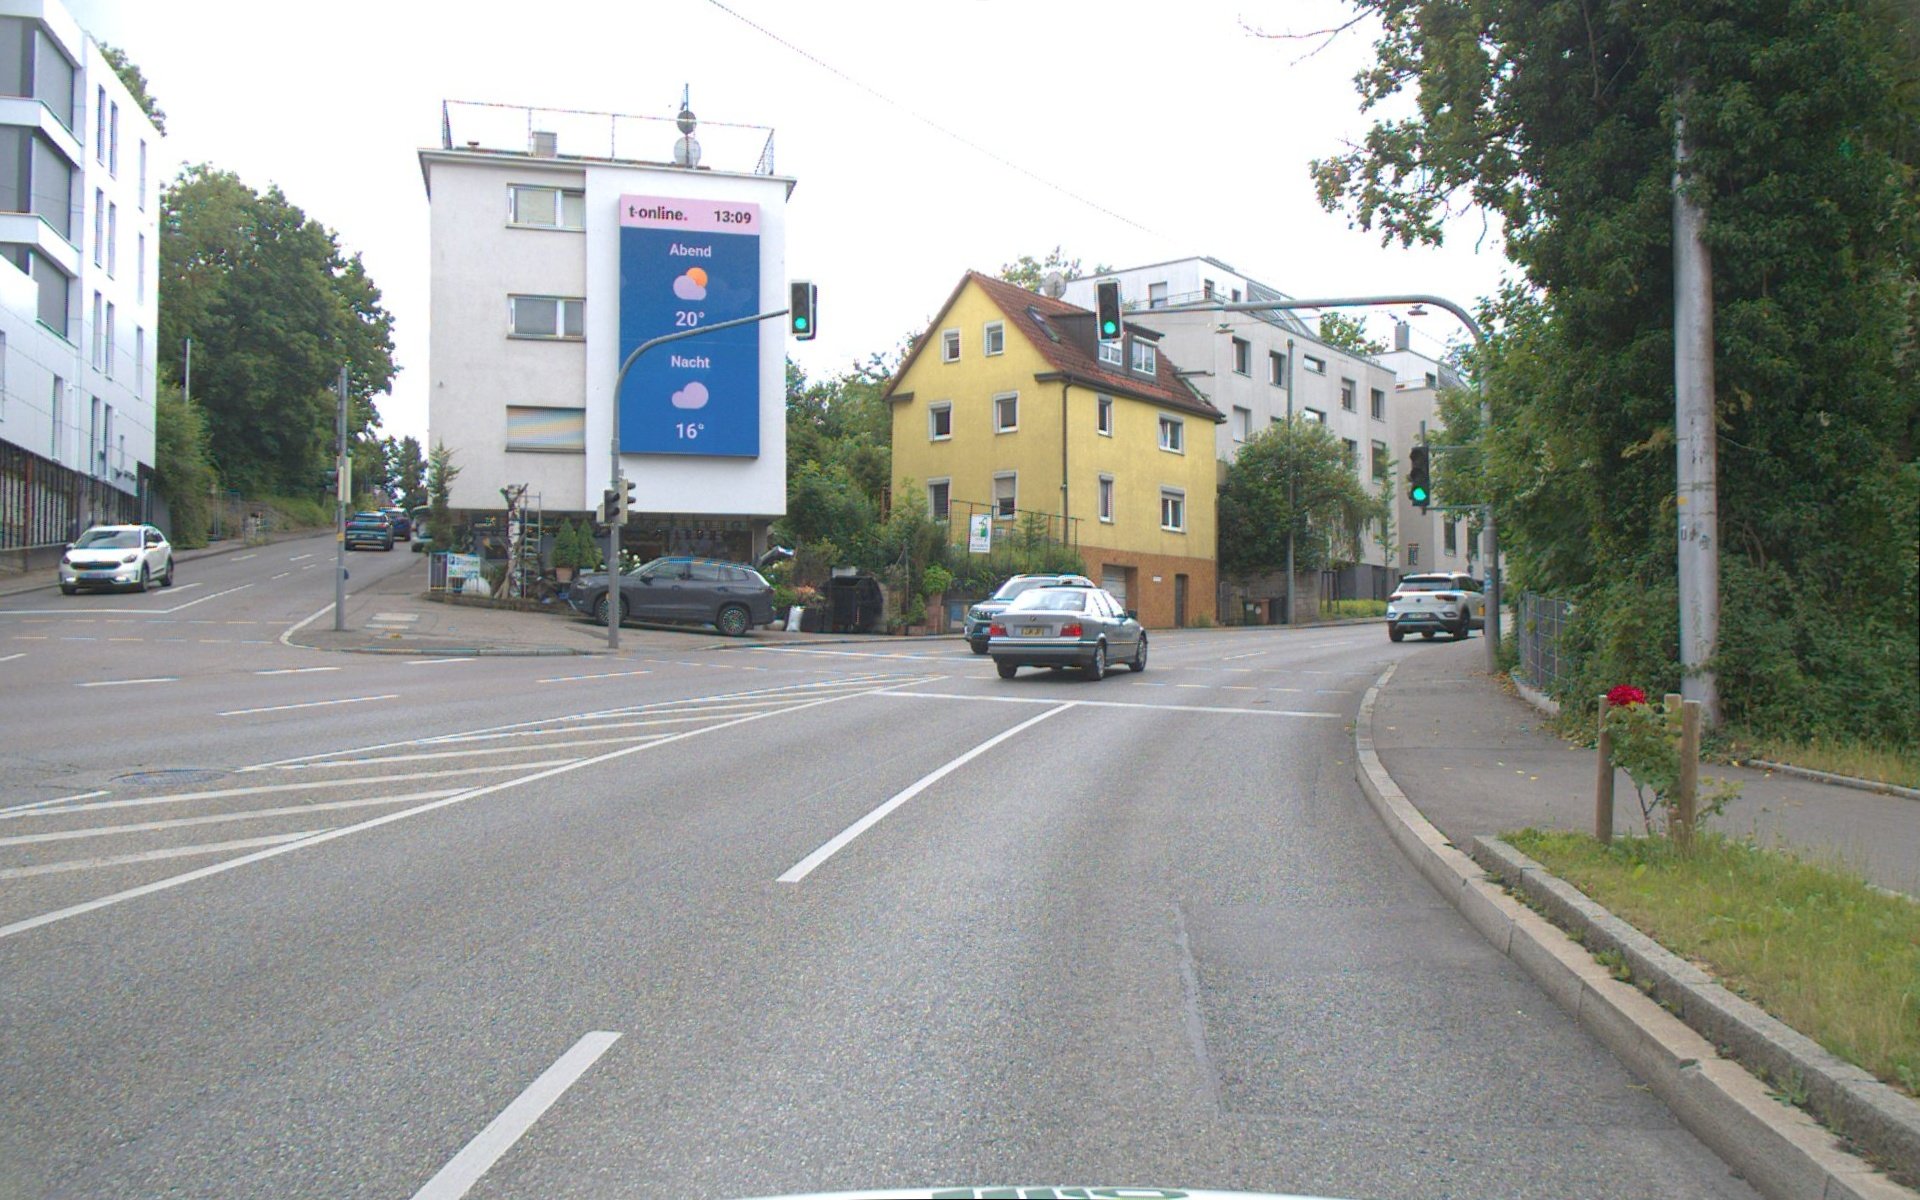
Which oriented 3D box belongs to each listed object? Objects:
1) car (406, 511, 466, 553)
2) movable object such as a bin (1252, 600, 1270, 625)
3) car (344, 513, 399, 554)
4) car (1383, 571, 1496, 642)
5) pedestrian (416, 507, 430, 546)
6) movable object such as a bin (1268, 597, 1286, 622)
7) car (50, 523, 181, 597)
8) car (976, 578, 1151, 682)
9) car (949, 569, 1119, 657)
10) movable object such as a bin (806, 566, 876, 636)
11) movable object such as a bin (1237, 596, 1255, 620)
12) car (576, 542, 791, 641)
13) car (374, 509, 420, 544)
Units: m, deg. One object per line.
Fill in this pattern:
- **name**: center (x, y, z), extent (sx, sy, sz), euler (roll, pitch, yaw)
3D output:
- **car**: center (-22.208, -2.859, 70.199), extent (2.053, 1.641, 3.987), euler (1, 1, -13)
- **movable object such as a bin**: center (11.108, 0.455, 60.976), extent (0.556, 0.901, 0.610), euler (1, 1, 20)
- **car**: center (-24.557, -2.801, 69.094), extent (1.750, 1.606, 3.987), euler (1, 3, -14)
- **car**: center (11.486, 0.132, 39.442), extent (1.746, 1.606, 3.993), euler (1, 1, 29)
- **pedestrian**: center (-22.168, -3.021, 68.272), extent (0.450, 1.556, 0.525), euler (1, -1, -13)
- **movable object such as a bin**: center (11.698, 0.331, 61.087), extent (0.556, 0.901, 0.610), euler (1, 1, 20)
- **car**: center (-20.250, -1.009, 39.822), extent (1.851, 1.594, 4.374), euler (0, 3, -14)
- **car**: center (1.710, 0.417, 25.961), extent (1.671, 1.489, 4.001), euler (1, 0, 20)
- **car**: center (1.639, 0.251, 34.910), extent (1.860, 1.725, 4.340), euler (0, 0, 29)
- **movable object such as a bin**: center (-3.152, 0.007, 44.030), extent (1.726, 1.810, 1.854), euler (0, 0, -1)
- **movable object such as a bin**: center (10.694, 0.292, 61.790), extent (0.556, 0.901, 0.610), euler (1, 1, 20)
- **car**: center (-6.389, -0.203, 38.024), extent (4.610, 1.741, 2.311), euler (5, 2, -14)
- **car**: center (-27.643, -3.618, 81.349), extent (1.750, 1.606, 3.987), euler (1, 3, -14)
